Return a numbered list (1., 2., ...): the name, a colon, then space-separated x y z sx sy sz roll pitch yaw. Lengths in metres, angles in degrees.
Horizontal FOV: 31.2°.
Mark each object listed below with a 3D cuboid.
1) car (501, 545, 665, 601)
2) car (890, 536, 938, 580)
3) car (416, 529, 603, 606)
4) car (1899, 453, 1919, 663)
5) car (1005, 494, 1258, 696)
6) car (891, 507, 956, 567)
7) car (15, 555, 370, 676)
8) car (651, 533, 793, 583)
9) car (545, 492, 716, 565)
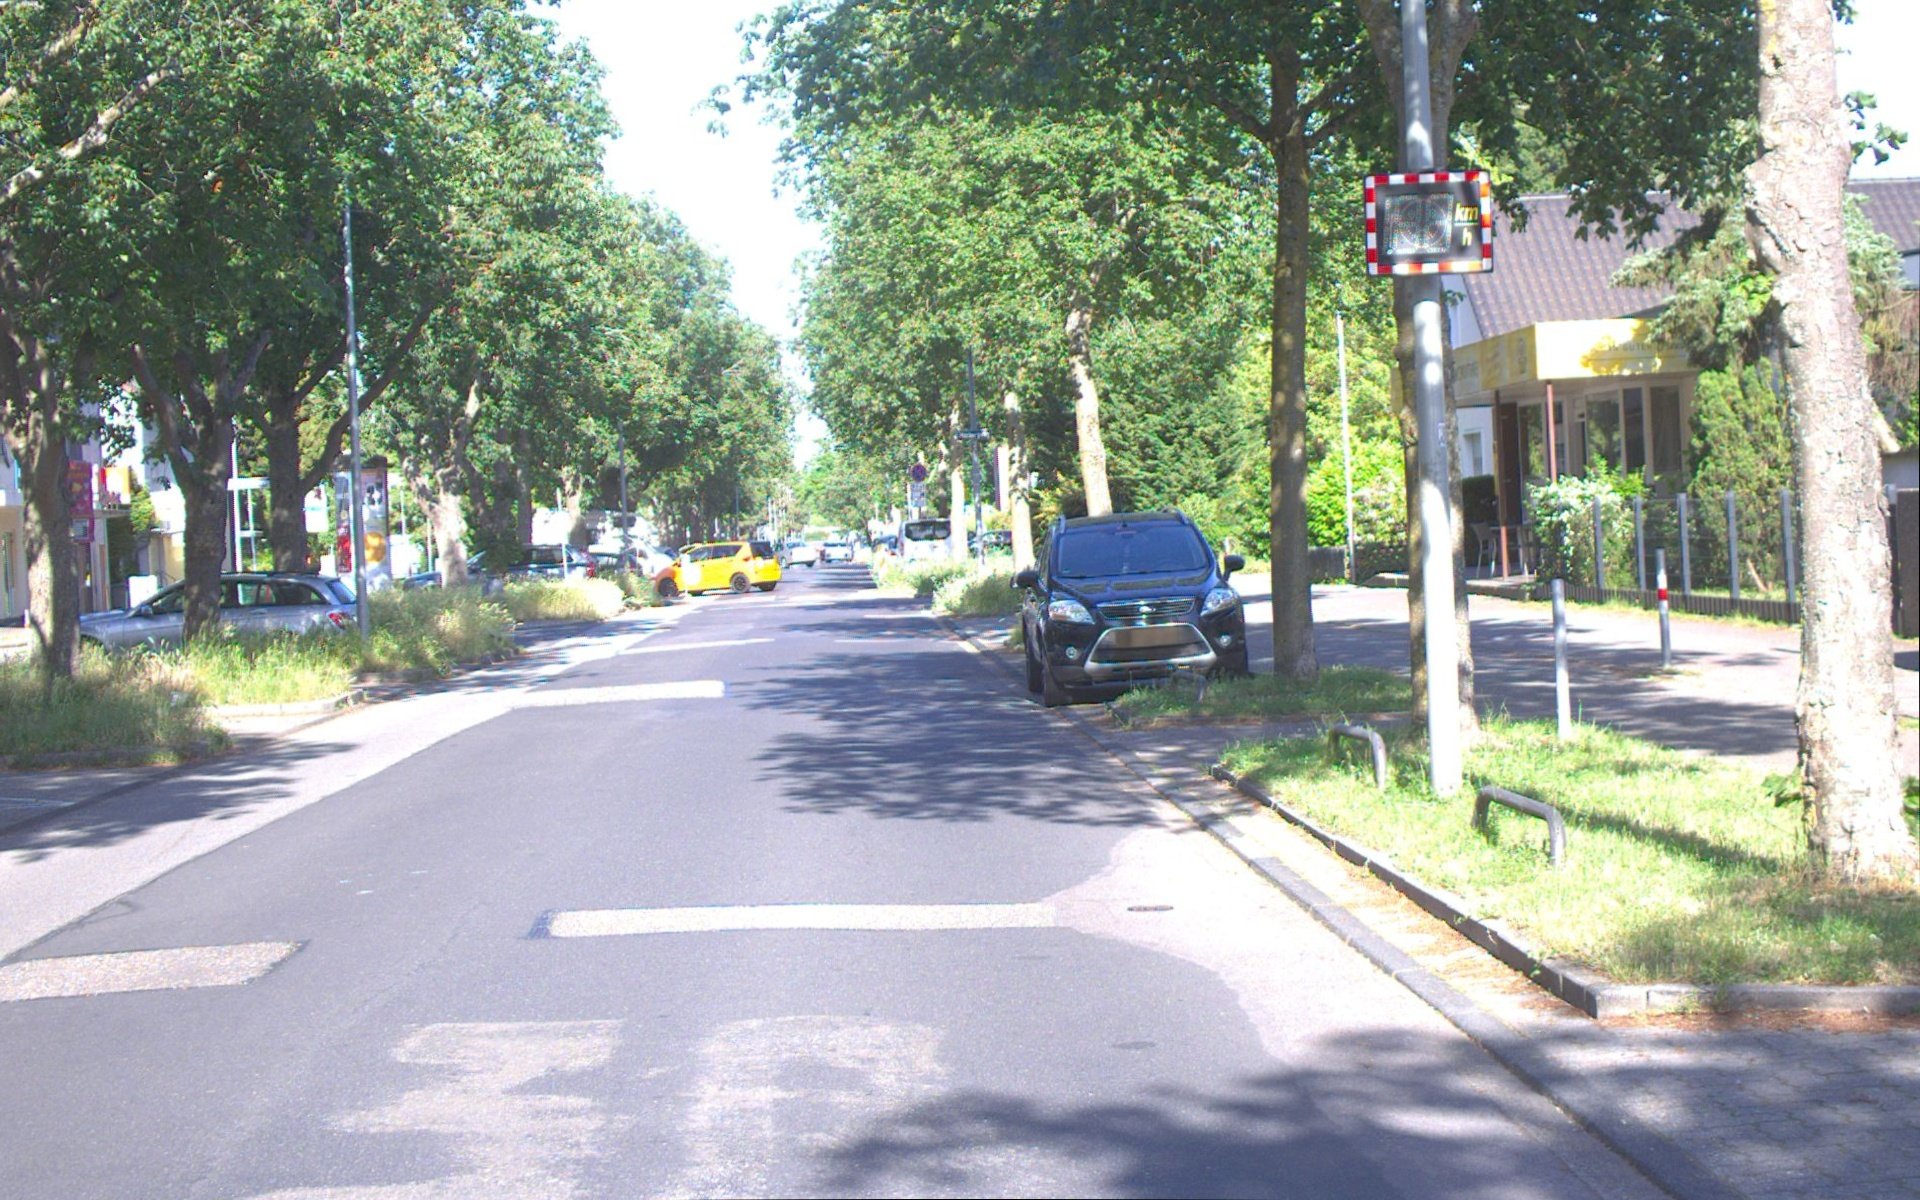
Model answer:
1. car: -10.078 -0.731 91.907 4.286 1.310 1.909 -1 3 -6
2. car: -1.939 -1.760 142.994 1.902 1.768 4.301 -1 1 -1
3. car: -11.198 -0.826 85.632 4.545 1.759 2.001 -1 3 -6
4. car: 8.807 -0.410 23.783 3.987 1.483 1.902 -4 3 -3
5. car: 1.513 -0.059 31.947 1.853 1.620 4.470 -4 1 -2
6. car: -1.133 -1.912 104.810 1.902 1.768 4.301 -1 1 -1
7. car: -10.687 0.203 48.098 4.554 1.506 1.841 -1 3 -2
8. car: -7.176 -1.261 103.557 3.881 1.474 1.891 0 1 30
9. car: -10.853 -2.373 113.520 5.497 2.240 2.517 -1 3 -3
